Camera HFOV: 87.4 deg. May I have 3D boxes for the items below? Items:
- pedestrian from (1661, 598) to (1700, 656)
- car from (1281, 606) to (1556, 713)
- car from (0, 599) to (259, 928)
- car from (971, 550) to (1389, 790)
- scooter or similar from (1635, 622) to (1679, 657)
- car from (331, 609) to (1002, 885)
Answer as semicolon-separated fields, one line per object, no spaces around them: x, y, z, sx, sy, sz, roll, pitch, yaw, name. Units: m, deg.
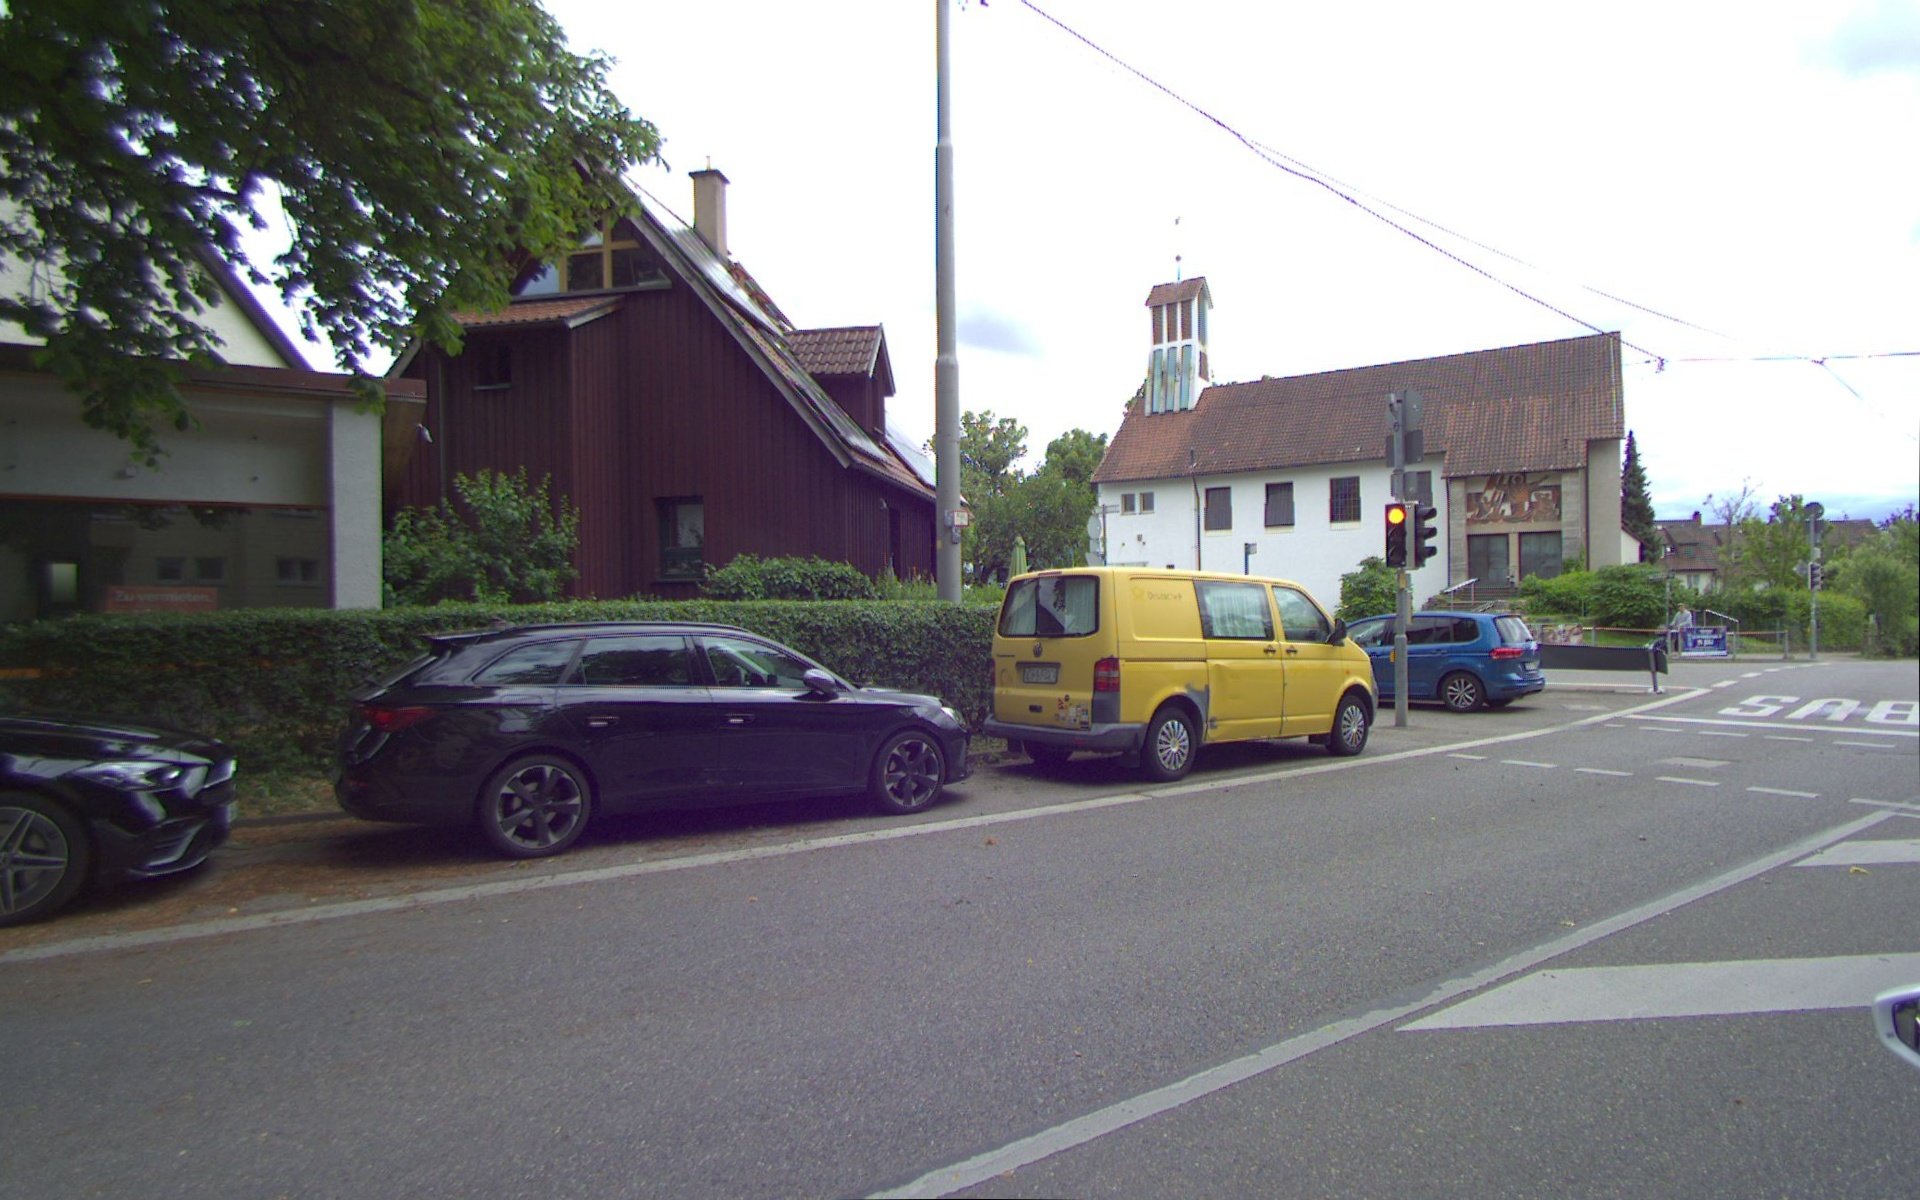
23.365;0.876;32.571;0.871;1.887;0.573;0;-1;-12;pedestrian
7.815;0.991;17.365;1.806;1.632;3.948;1;-3;-44;car
-6.210;0.763;4.752;4.561;1.520;1.984;1;-2;-31;car
2.464;0.648;10.682;4.523;2.040;1.870;1;-2;-37;car
22.434;1.261;32.344;1.092;1.095;0.576;0;-1;-12;scooter or similar
-1.993;0.846;7.437;4.494;1.505;1.681;1;-2;-34;car
